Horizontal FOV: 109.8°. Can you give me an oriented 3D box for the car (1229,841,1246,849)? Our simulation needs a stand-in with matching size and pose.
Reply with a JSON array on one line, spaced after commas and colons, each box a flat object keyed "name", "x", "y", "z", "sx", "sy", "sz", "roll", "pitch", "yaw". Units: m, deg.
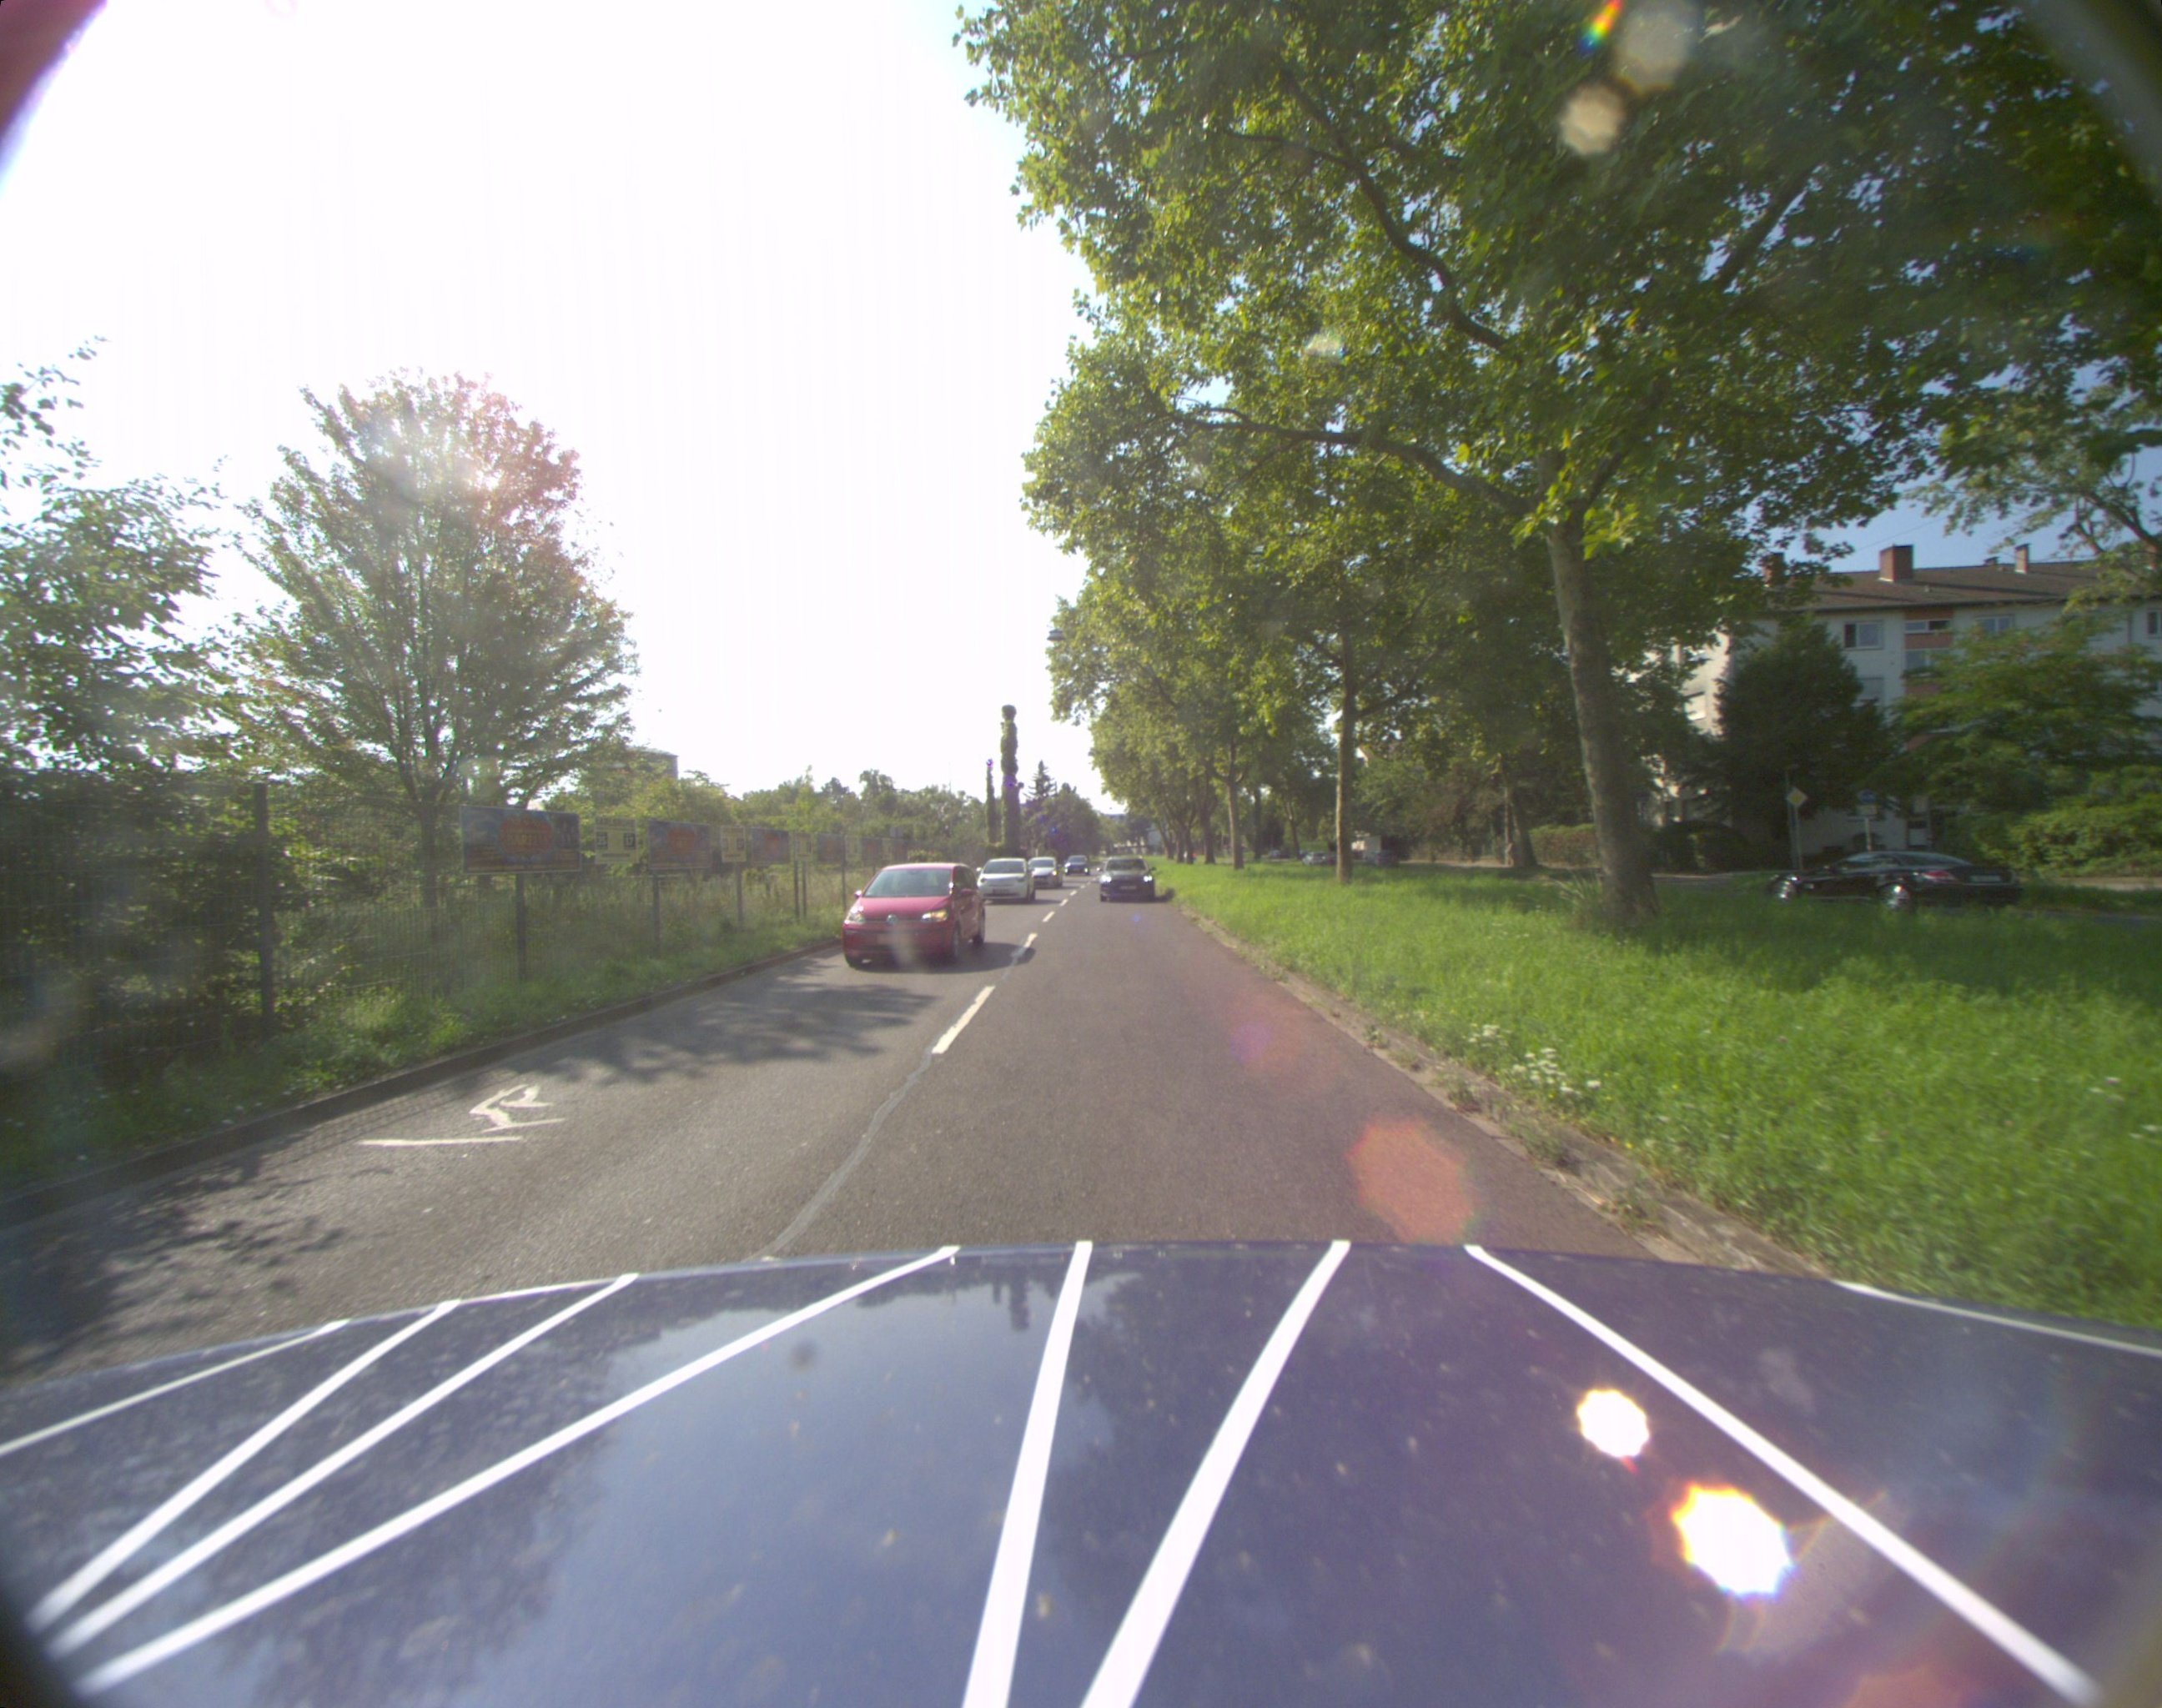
[{"name": "car", "x": 39.948, "y": -2.270, "z": 194.210, "sx": 4.021, "sy": 2.081, "sz": 1.833, "roll": -1, "pitch": 1, "yaw": 5}]

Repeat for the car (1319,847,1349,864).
[{"name": "car", "x": 21.961, "y": 0.112, "z": 66.039, "sx": 1.613, "sy": 1.284, "sz": 3.523, "roll": -2, "pitch": 1, "yaw": 3}]

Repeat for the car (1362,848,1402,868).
[{"name": "car", "x": 21.556, "y": 0.257, "z": 54.468, "sx": 1.613, "sy": 1.284, "sz": 3.523, "roll": -2, "pitch": 1, "yaw": 3}]

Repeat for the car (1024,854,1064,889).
[{"name": "car", "x": -1.747, "y": 0.809, "z": 36.786, "sx": 1.649, "sy": 1.467, "sz": 3.898, "roll": -2, "pitch": 1, "yaw": 1}]

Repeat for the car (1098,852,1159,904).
[{"name": "car", "x": 1.560, "y": 0.771, "z": 26.044, "sx": 1.862, "sy": 1.572, "sz": 3.612, "roll": -2, "pitch": 1, "yaw": 1}]

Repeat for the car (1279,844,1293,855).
[{"name": "car", "x": 33.512, "y": -0.702, "z": 124.414, "sx": 1.648, "sy": 1.662, "sz": 3.735, "roll": -1, "pitch": 0, "yaw": 7}]

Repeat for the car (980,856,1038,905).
[{"name": "car", "x": -2.446, "y": 0.872, "z": 26.640, "sx": 1.649, "sy": 1.467, "sz": 3.898, "roll": -2, "pitch": 1, "yaw": 0}]

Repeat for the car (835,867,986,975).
[{"name": "car", "x": -2.573, "y": 0.957, "z": 12.221, "sx": 1.579, "sy": 1.390, "sz": 3.471, "roll": -1, "pitch": 1, "yaw": 1}]

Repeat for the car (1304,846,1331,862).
[{"name": "car", "x": 22.079, "y": 0.005, "z": 70.995, "sx": 1.613, "sy": 1.398, "sz": 3.523, "roll": -1, "pitch": 0, "yaw": 3}]

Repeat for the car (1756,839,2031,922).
[{"name": "car", "x": 16.835, "y": 0.469, "z": 16.066, "sx": 1.649, "sy": 1.471, "sz": 3.898, "roll": -2, "pitch": 1, "yaw": 1}]

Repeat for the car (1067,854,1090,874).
[{"name": "car", "x": -0.156, "y": 0.750, "z": 59.055, "sx": 1.649, "sy": 1.378, "sz": 3.898, "roll": -2, "pitch": 1, "yaw": 1}]
